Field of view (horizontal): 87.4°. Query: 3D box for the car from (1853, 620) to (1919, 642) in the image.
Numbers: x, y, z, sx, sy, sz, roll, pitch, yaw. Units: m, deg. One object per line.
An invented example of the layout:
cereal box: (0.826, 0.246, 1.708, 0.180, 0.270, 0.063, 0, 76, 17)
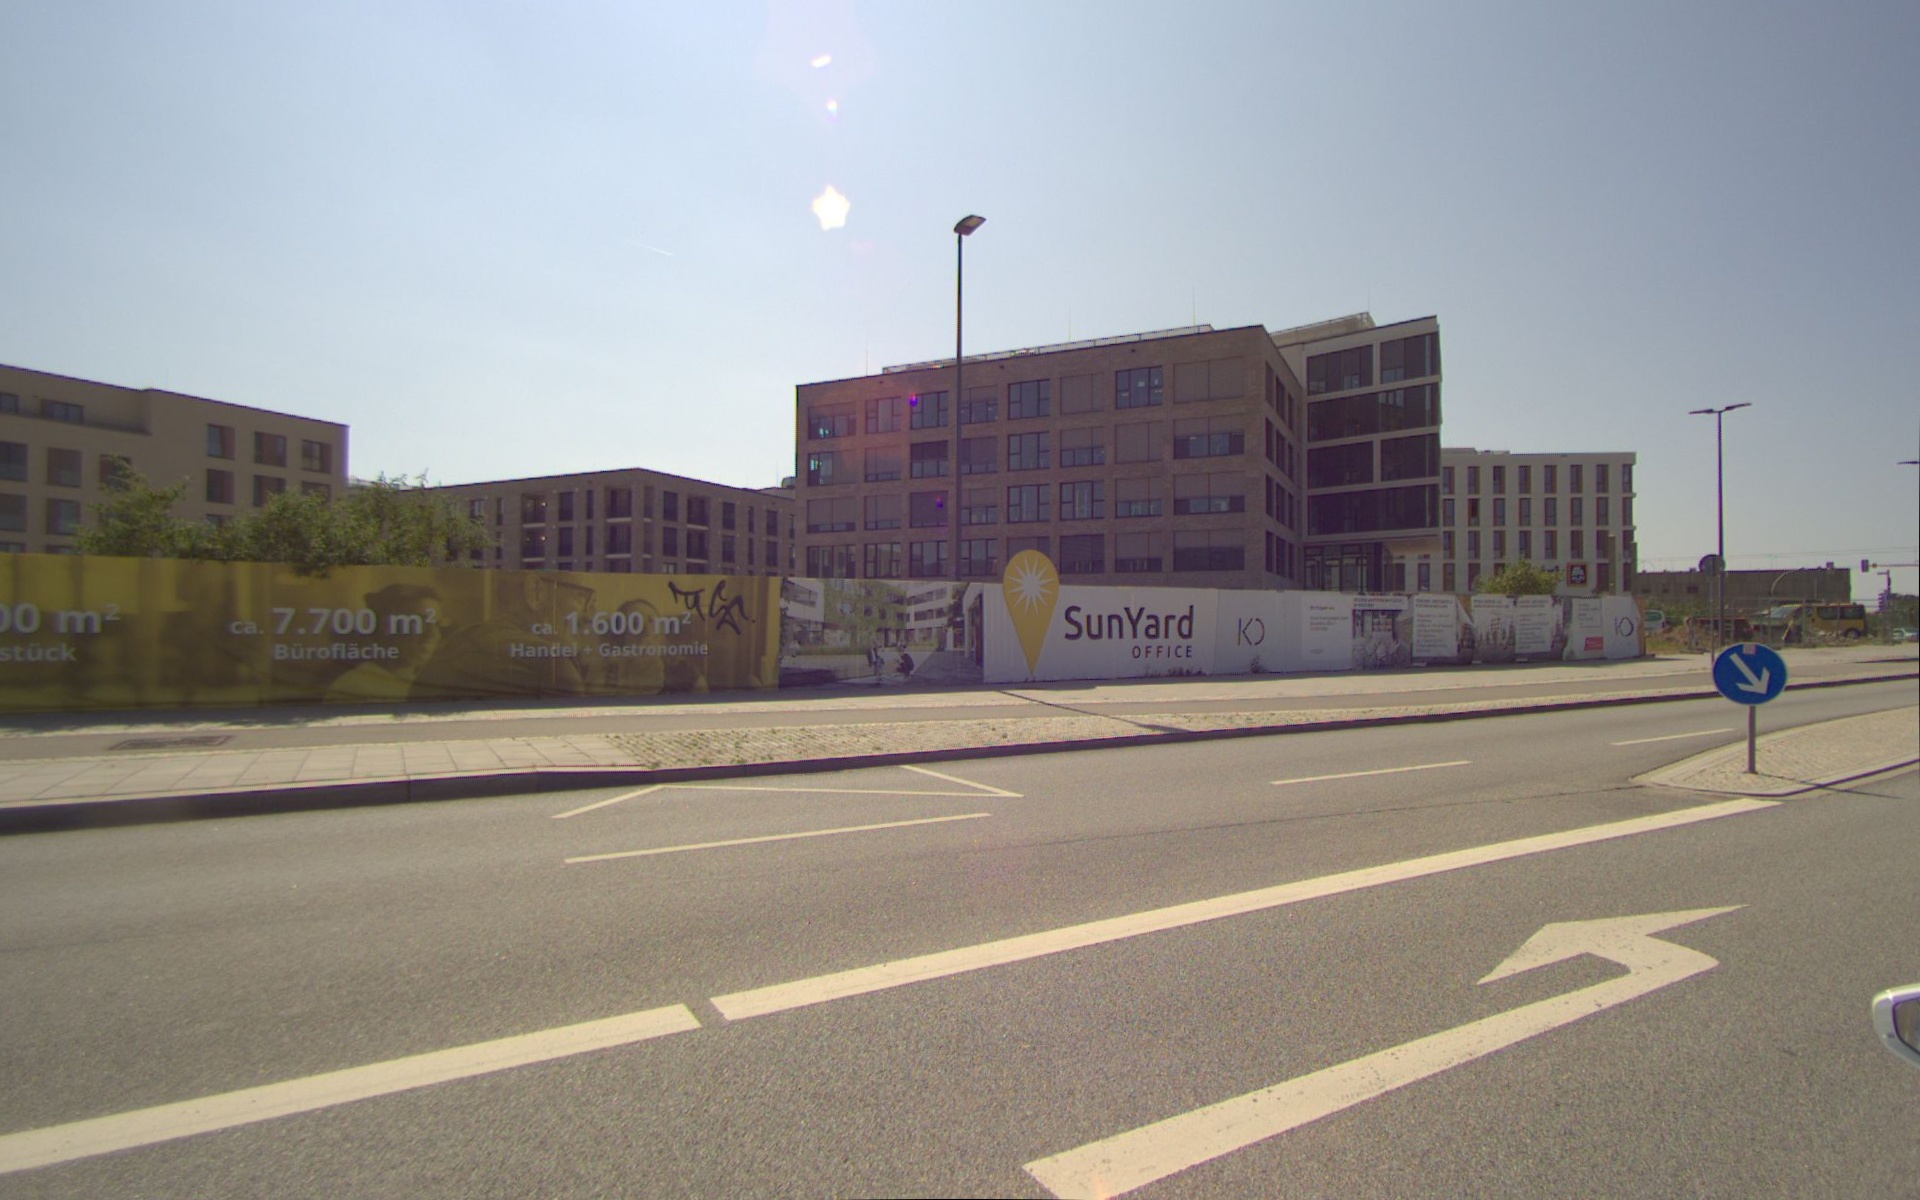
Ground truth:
car: (82.598, 2.714, 89.521, 1.968, 1.795, 3.986, 2, -1, -17)

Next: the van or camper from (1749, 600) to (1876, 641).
van or camper: (44.424, 1.077, 52.449, 4.622, 1.922, 2.001, 2, -1, 13)

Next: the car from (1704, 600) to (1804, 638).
car: (44.455, 1.038, 56.290, 3.919, 2.040, 2.001, 0, -1, 9)

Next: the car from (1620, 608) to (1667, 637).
car: (41.353, 1.369, 60.853, 1.996, 1.694, 4.592, 0, -1, 30)
